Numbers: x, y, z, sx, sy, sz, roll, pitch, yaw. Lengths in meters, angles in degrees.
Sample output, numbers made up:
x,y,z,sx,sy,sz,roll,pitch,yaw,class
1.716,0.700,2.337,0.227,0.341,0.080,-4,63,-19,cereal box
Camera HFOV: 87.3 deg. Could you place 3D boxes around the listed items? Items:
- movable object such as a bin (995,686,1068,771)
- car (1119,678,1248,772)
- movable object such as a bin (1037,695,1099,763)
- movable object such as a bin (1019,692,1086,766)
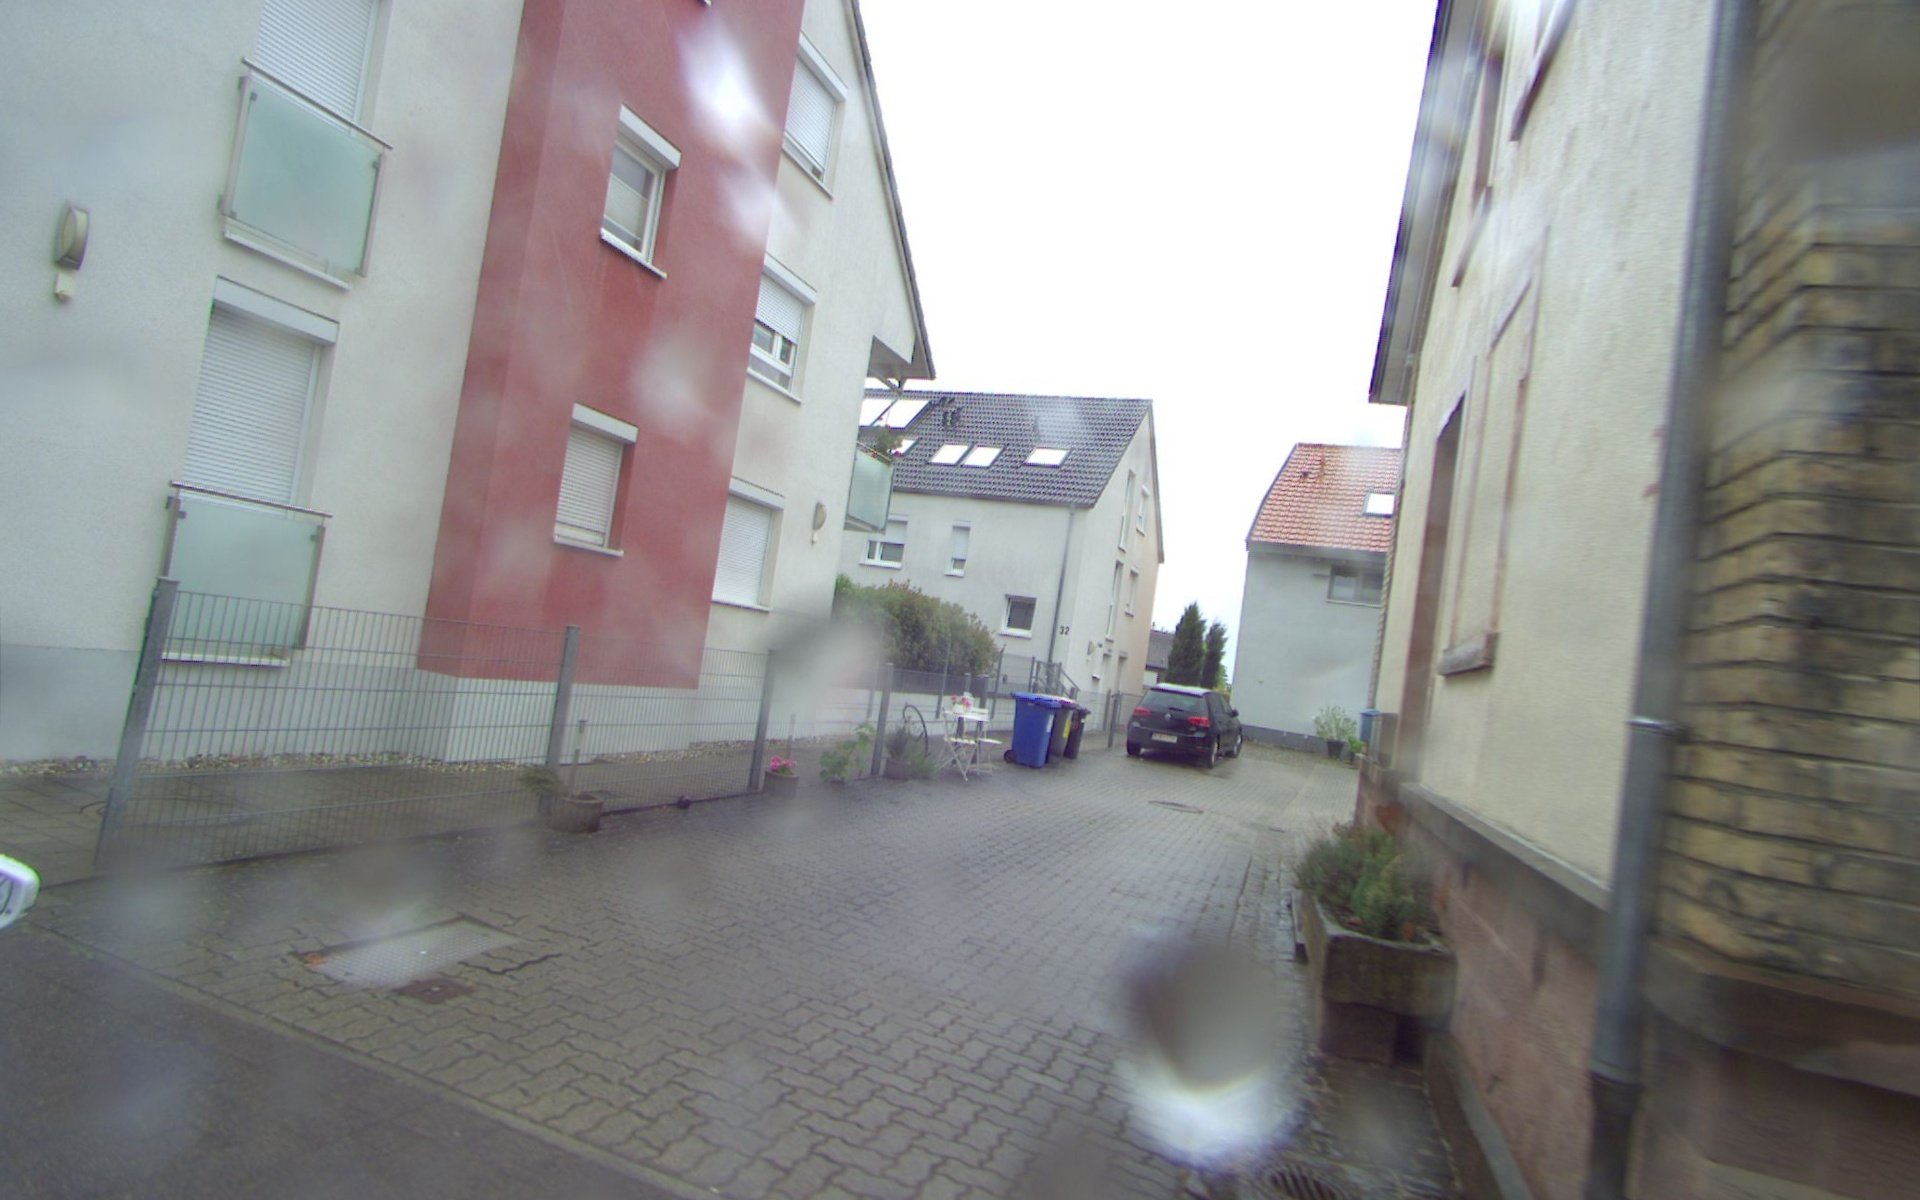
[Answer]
x,y,z,sx,sy,sz,roll,pitch,yaw,class
1.097,1.946,15.315,0.788,1.146,0.730,7,-4,21,movable object such as a bin
4.638,2.460,20.546,1.665,1.481,3.569,6,0,26,car
1.890,2.252,17.595,0.788,1.049,0.730,7,-4,21,movable object such as a bin
1.517,2.093,16.339,0.788,1.049,0.730,7,-4,21,movable object such as a bin
